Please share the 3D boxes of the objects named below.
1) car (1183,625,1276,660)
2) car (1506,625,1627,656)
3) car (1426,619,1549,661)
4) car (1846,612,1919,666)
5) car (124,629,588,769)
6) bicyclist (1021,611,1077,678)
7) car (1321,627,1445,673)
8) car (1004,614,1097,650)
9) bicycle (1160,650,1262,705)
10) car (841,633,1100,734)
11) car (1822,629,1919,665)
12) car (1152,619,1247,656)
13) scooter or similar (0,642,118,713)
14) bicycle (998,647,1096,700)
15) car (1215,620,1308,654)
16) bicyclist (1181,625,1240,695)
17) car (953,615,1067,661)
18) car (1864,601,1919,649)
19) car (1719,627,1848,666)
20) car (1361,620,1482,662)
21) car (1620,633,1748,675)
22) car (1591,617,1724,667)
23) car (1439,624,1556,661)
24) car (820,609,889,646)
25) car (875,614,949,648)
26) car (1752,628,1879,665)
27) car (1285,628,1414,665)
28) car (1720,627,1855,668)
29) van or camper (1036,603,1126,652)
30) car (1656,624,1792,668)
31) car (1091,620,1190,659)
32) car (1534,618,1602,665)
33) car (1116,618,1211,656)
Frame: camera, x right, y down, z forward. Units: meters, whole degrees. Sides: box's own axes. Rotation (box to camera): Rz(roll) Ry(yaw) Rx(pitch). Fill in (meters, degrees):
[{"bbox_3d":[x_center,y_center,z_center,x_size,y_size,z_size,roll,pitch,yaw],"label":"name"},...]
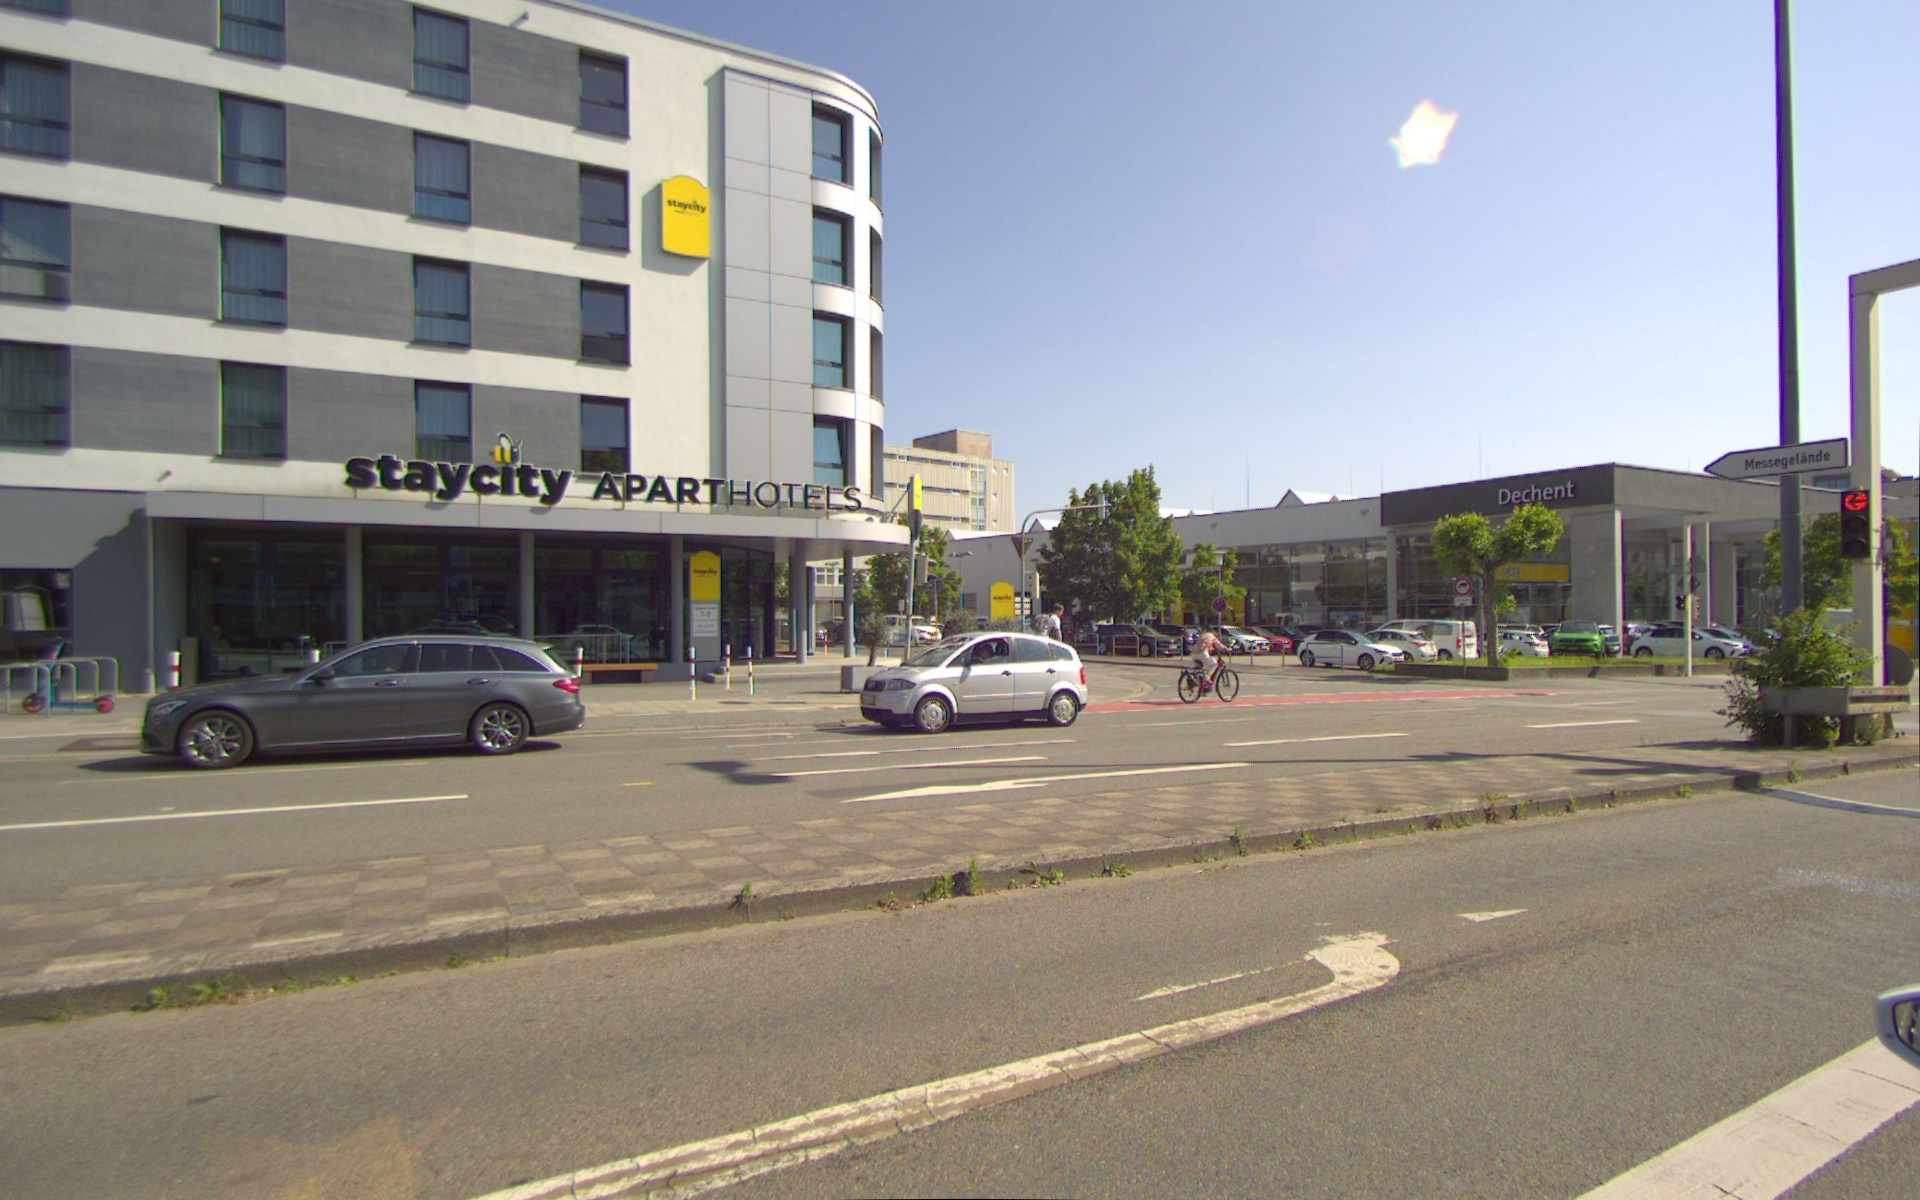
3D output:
[{"bbox_3d":[13.719,2.138,51.320,1.980,1.719,4.329,1,-2,-35],"label":"car"},{"bbox_3d":[27.778,1.866,46.119,1.982,1.284,4.325,4,-4,-37],"label":"car"},{"bbox_3d":[22.798,1.695,43.531,1.982,1.719,4.324,1,-2,-38],"label":"car"},{"bbox_3d":[49.098,1.983,51.967,2.096,2.720,4.490,1,-1,-21],"label":"car"},{"bbox_3d":[-7.101,1.123,12.345,4.530,1.446,1.948,1,-4,-29],"label":"car"},{"bbox_3d":[2.009,0.994,22.698,1.013,1.479,0.765,1,-1,-26],"label":"bicyclist"},{"bbox_3d":[17.295,2.006,41.232,1.980,1.719,4.329,1,-2,-35],"label":"car"},{"bbox_3d":[4.485,1.591,50.148,4.305,1.719,1.991,-1,-2,40],"label":"car"},{"bbox_3d":[5.466,1.663,21.891,2.130,1.131,0.766,1,-1,-23],"label":"bicycle"},{"bbox_3d":[0.193,1.284,16.264,3.869,1.457,1.764,1,-3,-30],"label":"car"},{"bbox_3d":[46.908,2.342,50.995,1.975,1.719,4.340,1,-2,-27],"label":"car"},{"bbox_3d":[11.711,1.825,49.373,1.980,1.719,4.329,1,-2,-35],"label":"car"},{"bbox_3d":[-14.842,1.269,16.484,1.499,1.127,0.349,2,-1,-28],"label":"scooter or similar"},{"bbox_3d":[1.972,1.633,22.690,2.133,1.131,0.765,1,-1,-27],"label":"bicycle"},{"bbox_3d":[15.737,1.901,52.572,1.982,1.719,4.324,1,-2,-37],"label":"car"},{"bbox_3d":[5.454,1.291,21.890,1.012,1.479,0.766,1,-1,-23],"label":"bicyclist"},{"bbox_3d":[1.986,1.522,41.082,1.984,1.737,4.773,2,-2,-40],"label":"car"},{"bbox_3d":[53.168,1.408,55.553,1.972,2.635,4.345,1,-1,-24],"label":"car"},{"bbox_3d":[38.772,2.172,47.410,1.978,1.719,4.333,1,-2,-32],"label":"car"},{"bbox_3d":[19.772,1.724,43.163,1.982,1.719,4.324,1,-2,-38],"label":"car"},{"bbox_3d":[30.344,2.239,42.180,1.981,1.620,3.959,1,-2,-36],"label":"car"},{"bbox_3d":[27.249,1.604,39.347,1.978,1.862,3.849,1,-2,-32],"label":"car"},{"bbox_3d":[24.434,1.899,45.778,1.982,1.612,4.325,1,-2,-37],"label":"car"},{"bbox_3d":[-6.678,1.716,63.272,1.985,2.158,4.565,2,0,-42],"label":"car"},{"bbox_3d":[-2.859,1.825,59.134,1.970,1.815,4.377,2,0,-41],"label":"car"},{"bbox_3d":[41.614,2.228,48.943,1.978,1.719,4.333,1,-2,-32],"label":"car"},{"bbox_3d":[15.033,1.762,38.919,1.980,1.317,4.329,1,-2,-35],"label":"car"},{"bbox_3d":[37.348,2.117,45.426,1.978,1.719,4.334,2,-1,-32],"label":"car"},{"bbox_3d":[6.330,1.429,52.897,1.983,2.432,4.678,1,-2,-38],"label":"van or camper"},{"bbox_3d":[32.861,1.930,43.330,1.978,1.789,4.274,1,-2,-32],"label":"car"},{"bbox_3d":[8.212,1.765,45.979,1.980,1.719,4.329,1,-2,-35],"label":"car"},{"bbox_3d":[23.892,1.634,39.578,1.870,1.756,3.293,0,-3,23],"label":"car"},{"bbox_3d":[9.722,1.748,48.322,1.980,1.719,4.329,1,-2,-35],"label":"car"}]
